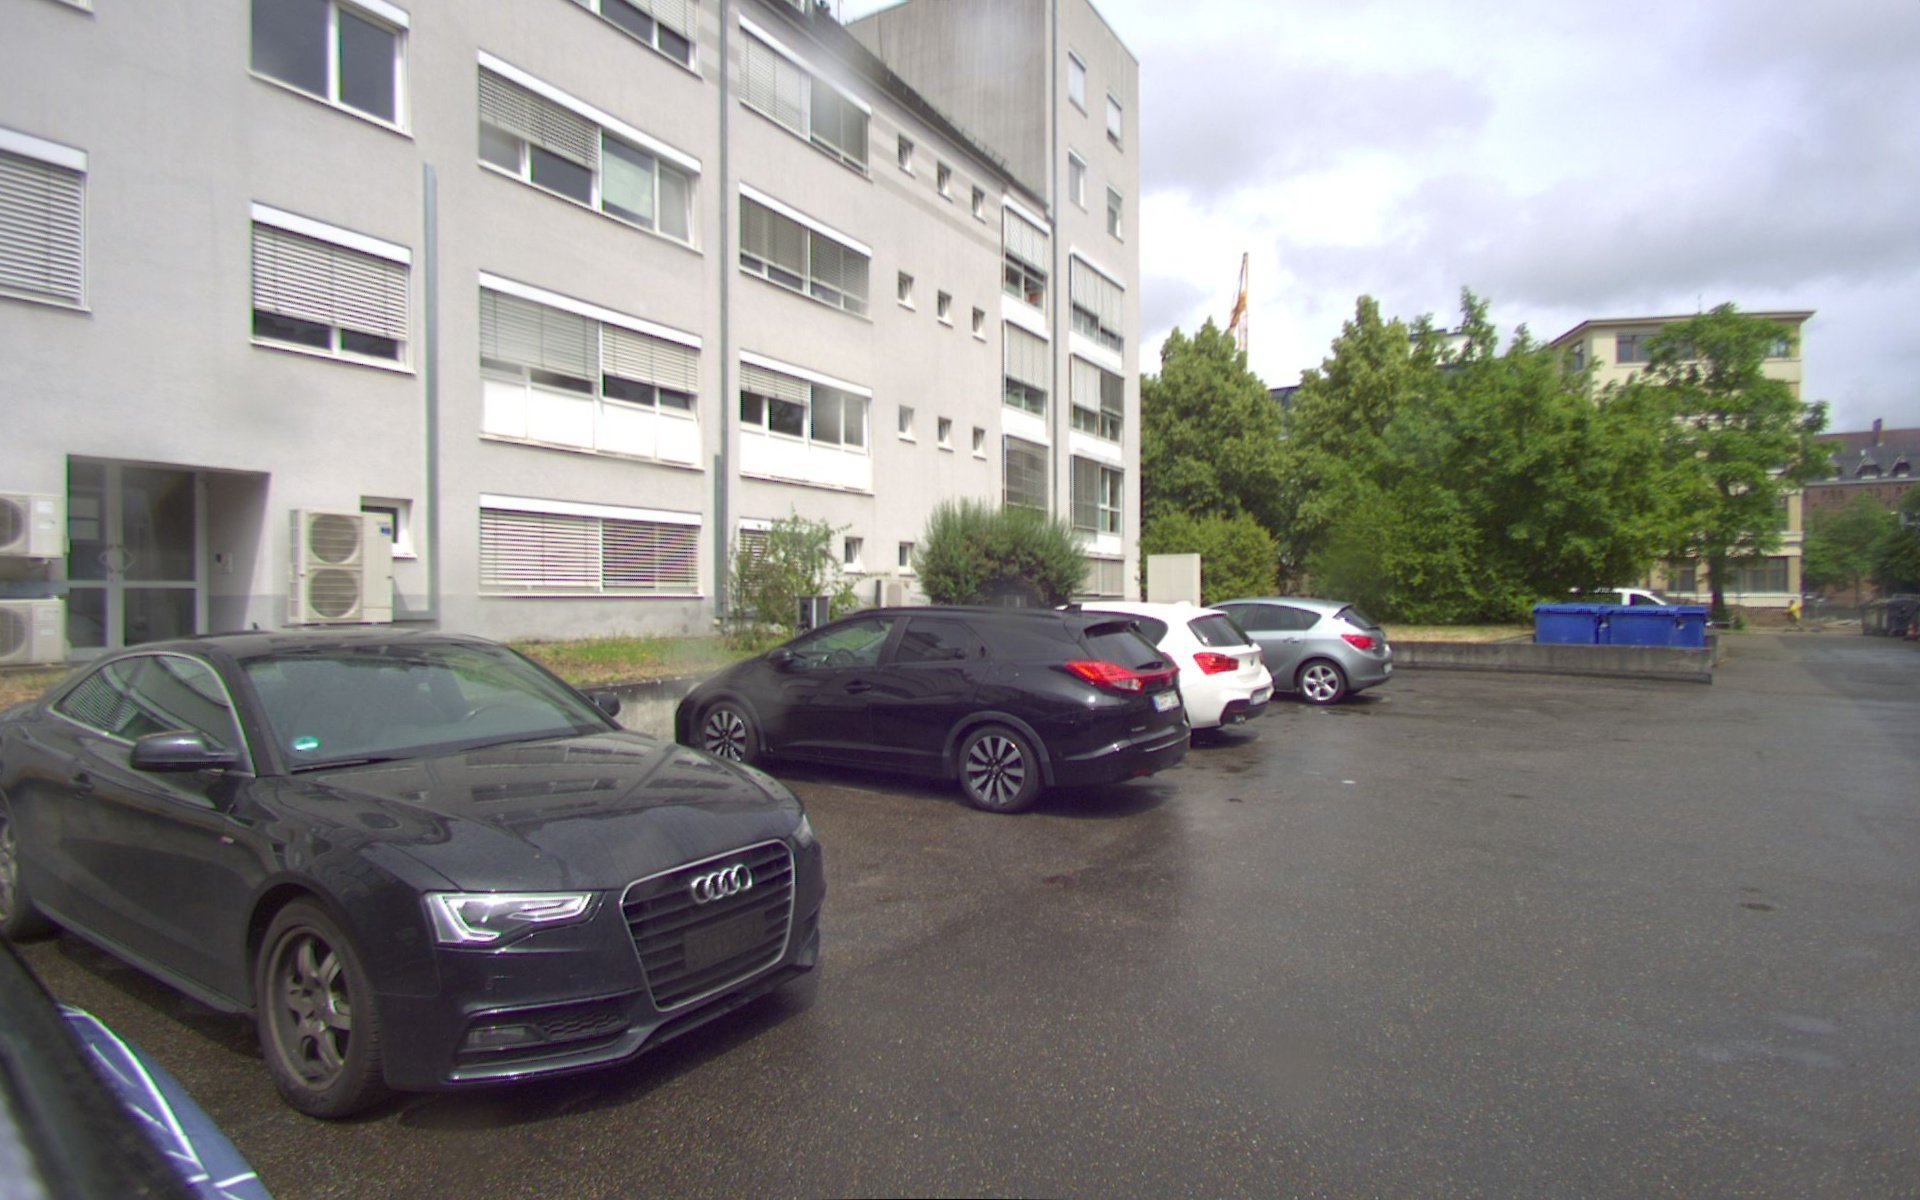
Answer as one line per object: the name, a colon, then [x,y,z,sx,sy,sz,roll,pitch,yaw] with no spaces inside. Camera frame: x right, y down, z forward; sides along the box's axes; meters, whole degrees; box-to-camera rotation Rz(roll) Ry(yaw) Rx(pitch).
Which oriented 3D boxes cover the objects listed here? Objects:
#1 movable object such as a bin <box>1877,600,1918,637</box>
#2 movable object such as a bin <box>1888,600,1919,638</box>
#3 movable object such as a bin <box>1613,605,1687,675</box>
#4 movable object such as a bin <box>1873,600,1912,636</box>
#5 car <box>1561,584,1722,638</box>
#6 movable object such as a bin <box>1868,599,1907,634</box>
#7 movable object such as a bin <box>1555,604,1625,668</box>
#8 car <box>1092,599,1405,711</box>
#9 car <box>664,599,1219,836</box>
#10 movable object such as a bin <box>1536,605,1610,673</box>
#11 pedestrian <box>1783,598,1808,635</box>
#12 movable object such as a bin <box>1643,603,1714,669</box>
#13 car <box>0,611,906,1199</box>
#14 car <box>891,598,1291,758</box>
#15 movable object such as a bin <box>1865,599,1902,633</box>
movable object such as a bin: [35.621,0.701,38.471,1.045,1.366,1.191,-1,0,41]
movable object such as a bin: [34.623,0.686,36.994,0.978,1.366,0.907,-1,0,41]
movable object such as a bin: [13.886,0.781,20.358,1.095,1.335,1.192,-1,0,40]
movable object such as a bin: [36.401,0.686,39.516,1.063,1.366,1.202,-1,0,41]
car: [23.182,0.378,34.508,4.334,1.740,1.698,-1,0,42]
movable object such as a bin: [37.346,0.667,40.759,1.066,1.366,1.247,-1,0,41]
movable object such as a bin: [13.955,0.775,22.418,1.130,1.338,1.192,-1,0,40]
car: [4.325,0.729,15.396,4.300,1.453,1.744,0,1,31]
car: [-0.252,0.743,8.279,4.300,1.453,1.745,0,1,31]
movable object such as a bin: [12.841,0.797,21.193,1.130,1.338,1.192,-1,0,40]
pedestrian: [42.365,0.841,51.333,0.858,1.827,0.854,-1,0,33]
movable object such as a bin: [15.269,0.749,21.500,1.130,1.338,1.192,-1,0,40]
car: [-2.564,0.774,4.297,4.514,1.362,1.744,1,1,32]
car: [1.379,0.720,11.259,4.113,1.453,1.678,1,1,33]
movable object such as a bin: [38.164,0.651,41.842,1.066,1.366,1.247,-1,0,41]
